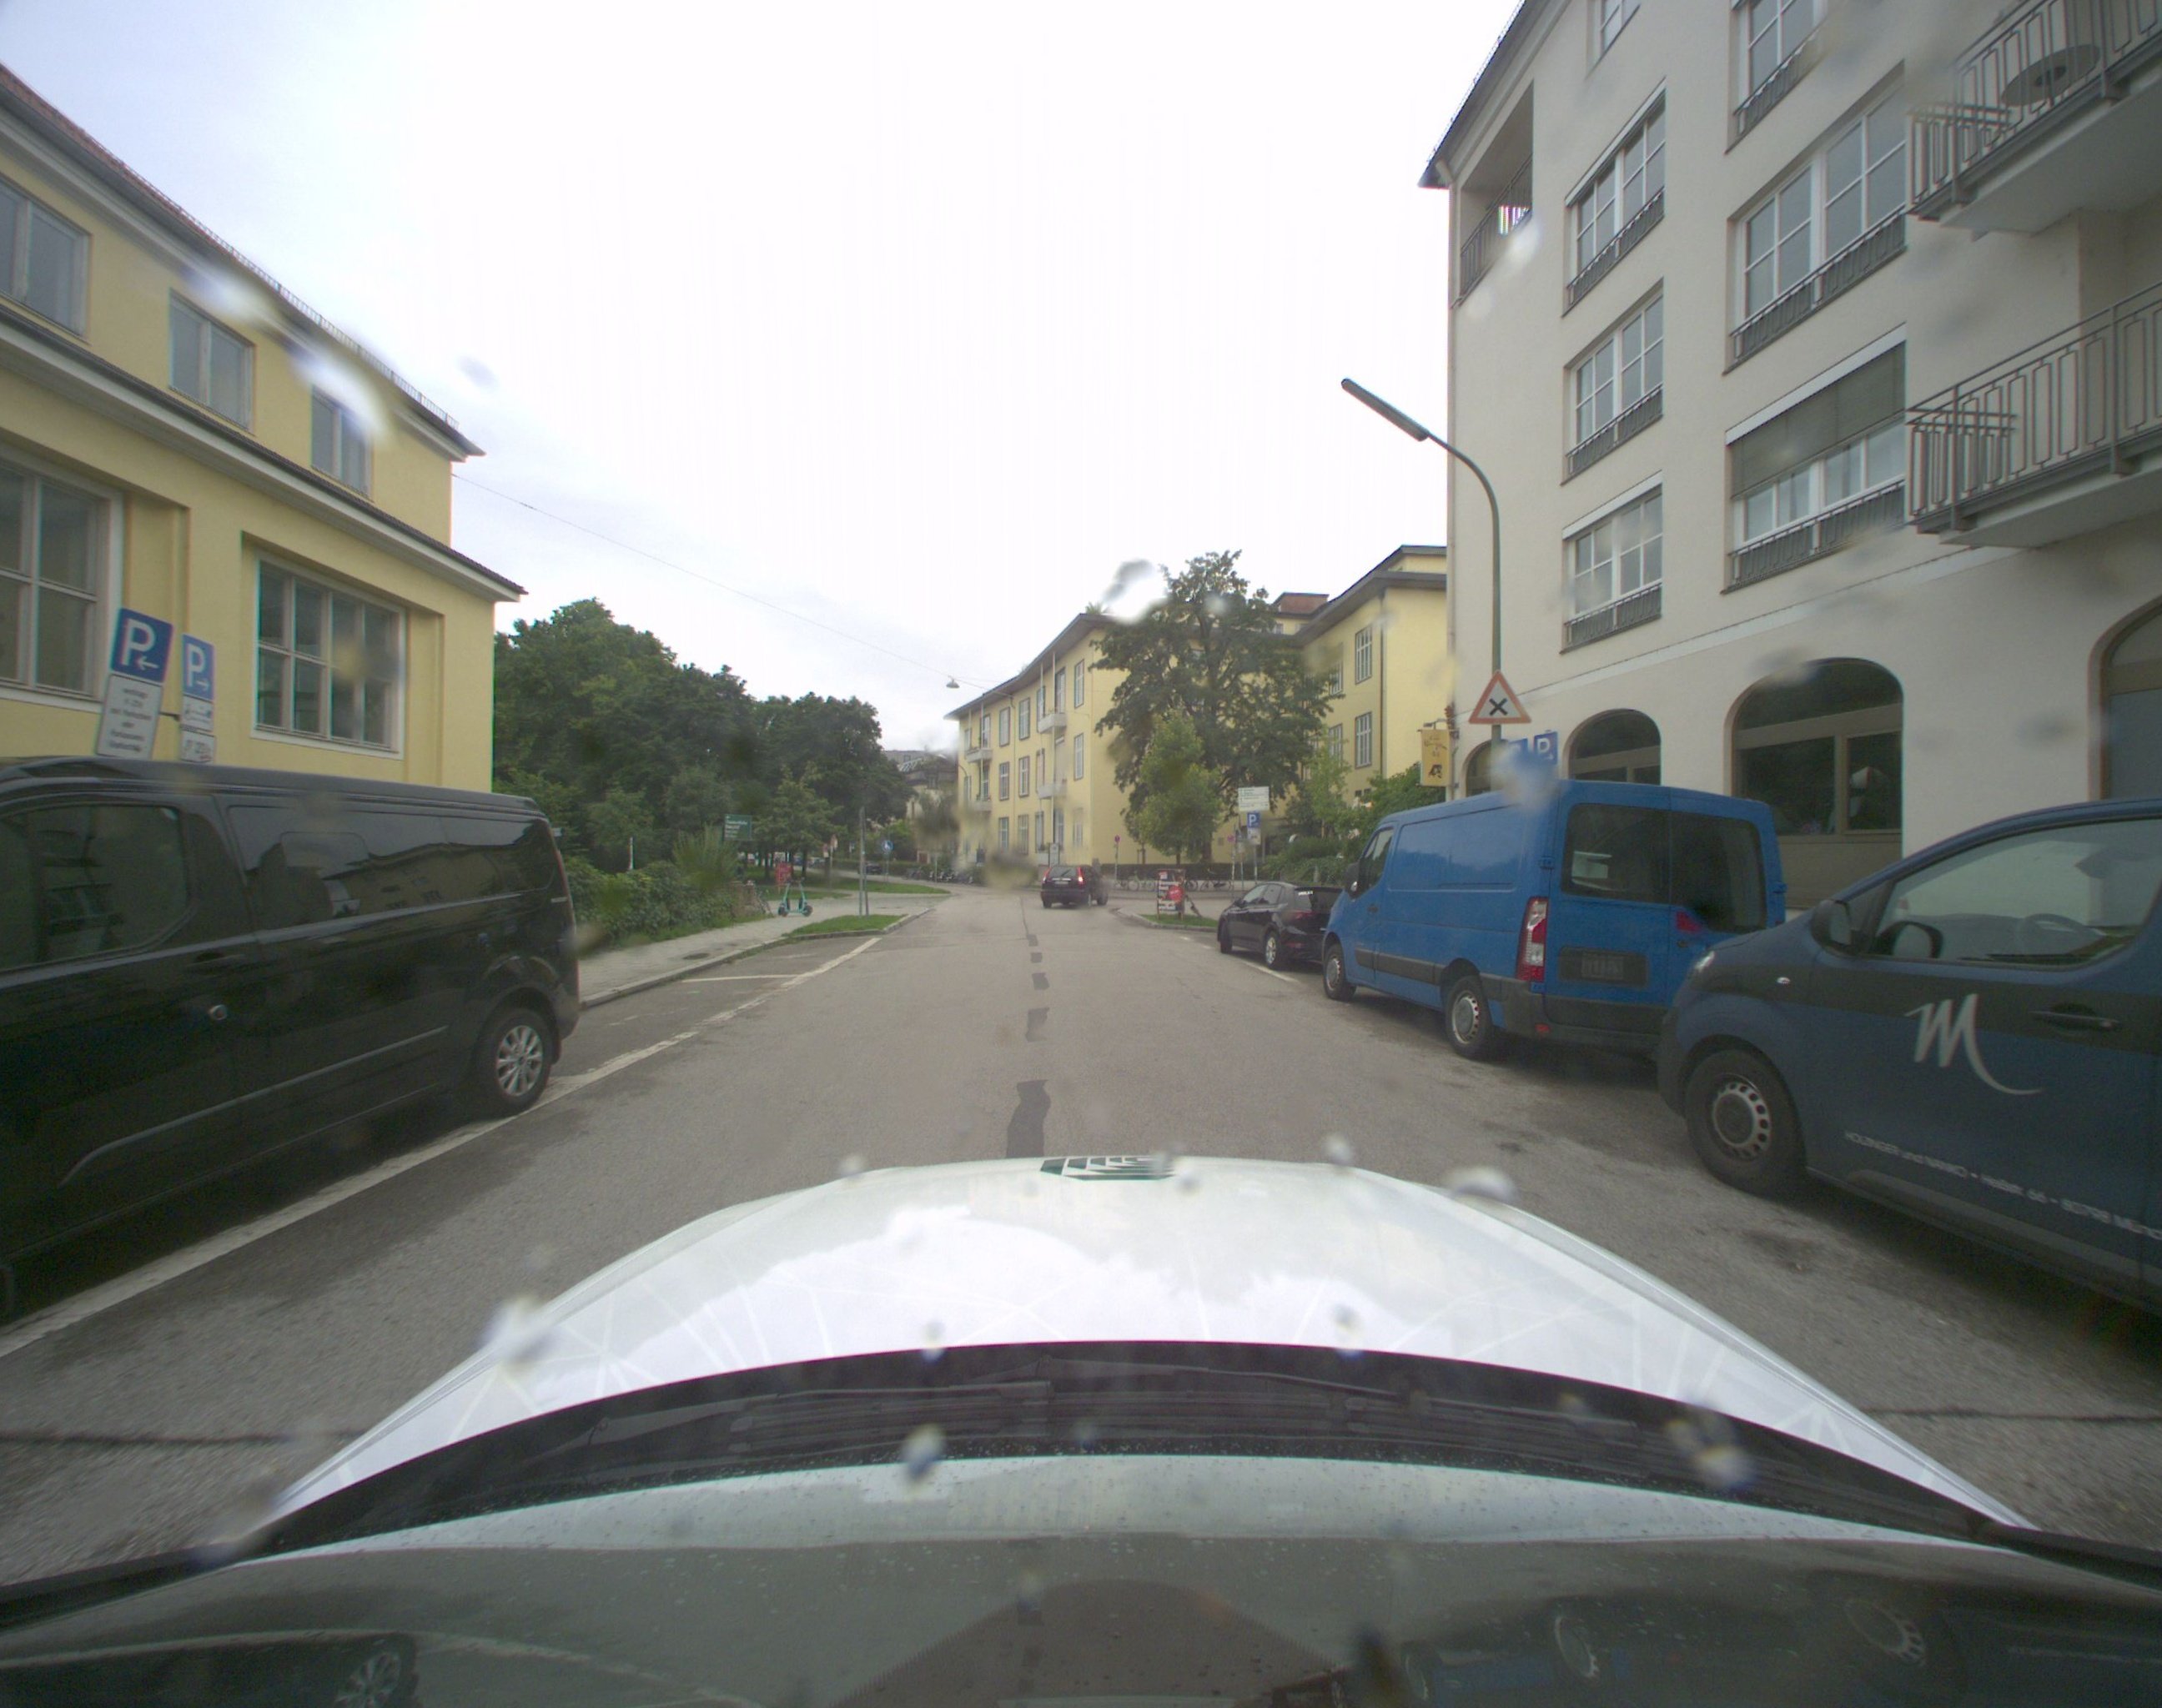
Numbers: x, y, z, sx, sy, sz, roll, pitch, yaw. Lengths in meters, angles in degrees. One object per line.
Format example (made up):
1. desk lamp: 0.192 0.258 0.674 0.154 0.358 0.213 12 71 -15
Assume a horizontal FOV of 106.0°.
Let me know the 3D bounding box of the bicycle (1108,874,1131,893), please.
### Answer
1. bicycle: 2.265 1.754 48.205 0.610 1.072 2.202 -1 -1 -19

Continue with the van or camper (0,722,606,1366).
1. van or camper: -4.500 0.659 3.688 1.956 2.065 4.749 -2 -1 -2

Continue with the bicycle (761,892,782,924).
1. bicycle: -9.745 1.695 25.646 0.472 0.923 1.193 0 -1 -28

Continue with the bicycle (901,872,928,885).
1. bicycle: -15.340 2.251 74.981 2.348 1.085 0.685 0 -1 -34

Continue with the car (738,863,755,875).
1. car: -51.410 2.355 125.250 2.005 1.838 3.963 1 -1 -28

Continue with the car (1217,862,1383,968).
1. car: 3.700 0.971 14.505 1.699 1.518 3.955 4 -1 -2

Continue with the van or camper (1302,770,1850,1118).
1. van or camper: 4.135 0.661 8.263 2.055 2.231 5.434 4 -1 -2

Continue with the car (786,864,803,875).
1. car: -45.099 2.432 128.230 1.886 1.816 3.963 1 -1 -29

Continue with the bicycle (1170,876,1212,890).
1. bicycle: 6.045 1.583 44.637 2.193 0.779 0.613 0 -1 17

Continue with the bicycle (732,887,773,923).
1. bicycle: -10.909 1.674 27.052 1.482 1.134 0.658 -1 -1 41

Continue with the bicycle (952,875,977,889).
1. bicycle: -9.069 2.198 63.544 1.835 1.005 0.572 -1 -1 -31

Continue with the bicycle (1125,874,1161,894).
1. bicycle: 3.491 1.671 46.020 0.614 1.117 2.190 1 -1 -45

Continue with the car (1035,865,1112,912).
1. car: -0.204 1.308 31.964 1.981 1.694 4.395 -1 -1 13

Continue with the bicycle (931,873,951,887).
1. bicycle: -11.476 2.125 66.908 0.631 1.085 1.996 -1 -1 21

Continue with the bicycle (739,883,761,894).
1. bicycle: -22.227 2.311 54.664 1.349 0.776 0.441 0 -1 7

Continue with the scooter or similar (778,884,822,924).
1. scooter or similar: -9.028 1.599 26.178 1.174 1.220 0.602 -2 -1 -1

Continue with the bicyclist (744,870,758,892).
1. bicyclist: -22.182 1.829 54.754 0.624 1.460 0.647 0 -1 8

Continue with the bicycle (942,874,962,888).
1. bicycle: -10.480 2.192 66.247 0.570 1.085 1.945 -1 -1 29

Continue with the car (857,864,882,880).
1. car: -22.952 1.920 88.219 1.873 1.634 4.247 1 -1 -26

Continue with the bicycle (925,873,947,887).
1. bicycle: -12.012 2.139 67.614 0.690 1.085 2.351 -1 -1 21

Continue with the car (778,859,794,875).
1. car: -49.448 2.179 136.411 1.886 2.568 4.886 1 -1 -29

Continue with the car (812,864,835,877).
1. car: -34.950 2.244 110.431 2.189 1.657 4.464 1 -1 -29

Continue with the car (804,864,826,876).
1. car: -37.853 2.322 115.653 2.189 1.657 4.464 1 -1 -29

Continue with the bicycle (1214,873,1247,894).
1. bicycle: 8.199 1.631 44.617 1.728 1.150 0.610 0 -1 1

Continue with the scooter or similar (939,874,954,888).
1. scooter or similar: -10.960 2.172 66.585 0.490 1.088 1.418 -1 -1 25

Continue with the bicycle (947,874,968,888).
1. bicycle: -9.968 2.166 65.707 0.570 1.085 1.945 -1 -1 29

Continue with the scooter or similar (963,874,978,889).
1. scooter or similar: -8.445 2.093 62.281 0.490 1.109 1.418 -1 -1 25

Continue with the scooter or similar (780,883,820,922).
1. scooter or similar: -9.285 1.584 26.946 0.441 1.220 1.189 -3 -2 34

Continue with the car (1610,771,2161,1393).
1. car: 4.162 0.710 2.424 1.958 1.816 4.935 3 -1 0

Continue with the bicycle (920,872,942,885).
1. bicycle: -12.761 2.084 69.355 0.756 1.085 2.152 -1 -1 21

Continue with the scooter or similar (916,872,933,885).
1. scooter or similar: -14.098 2.218 73.355 1.405 1.088 0.595 -1 -1 -11
